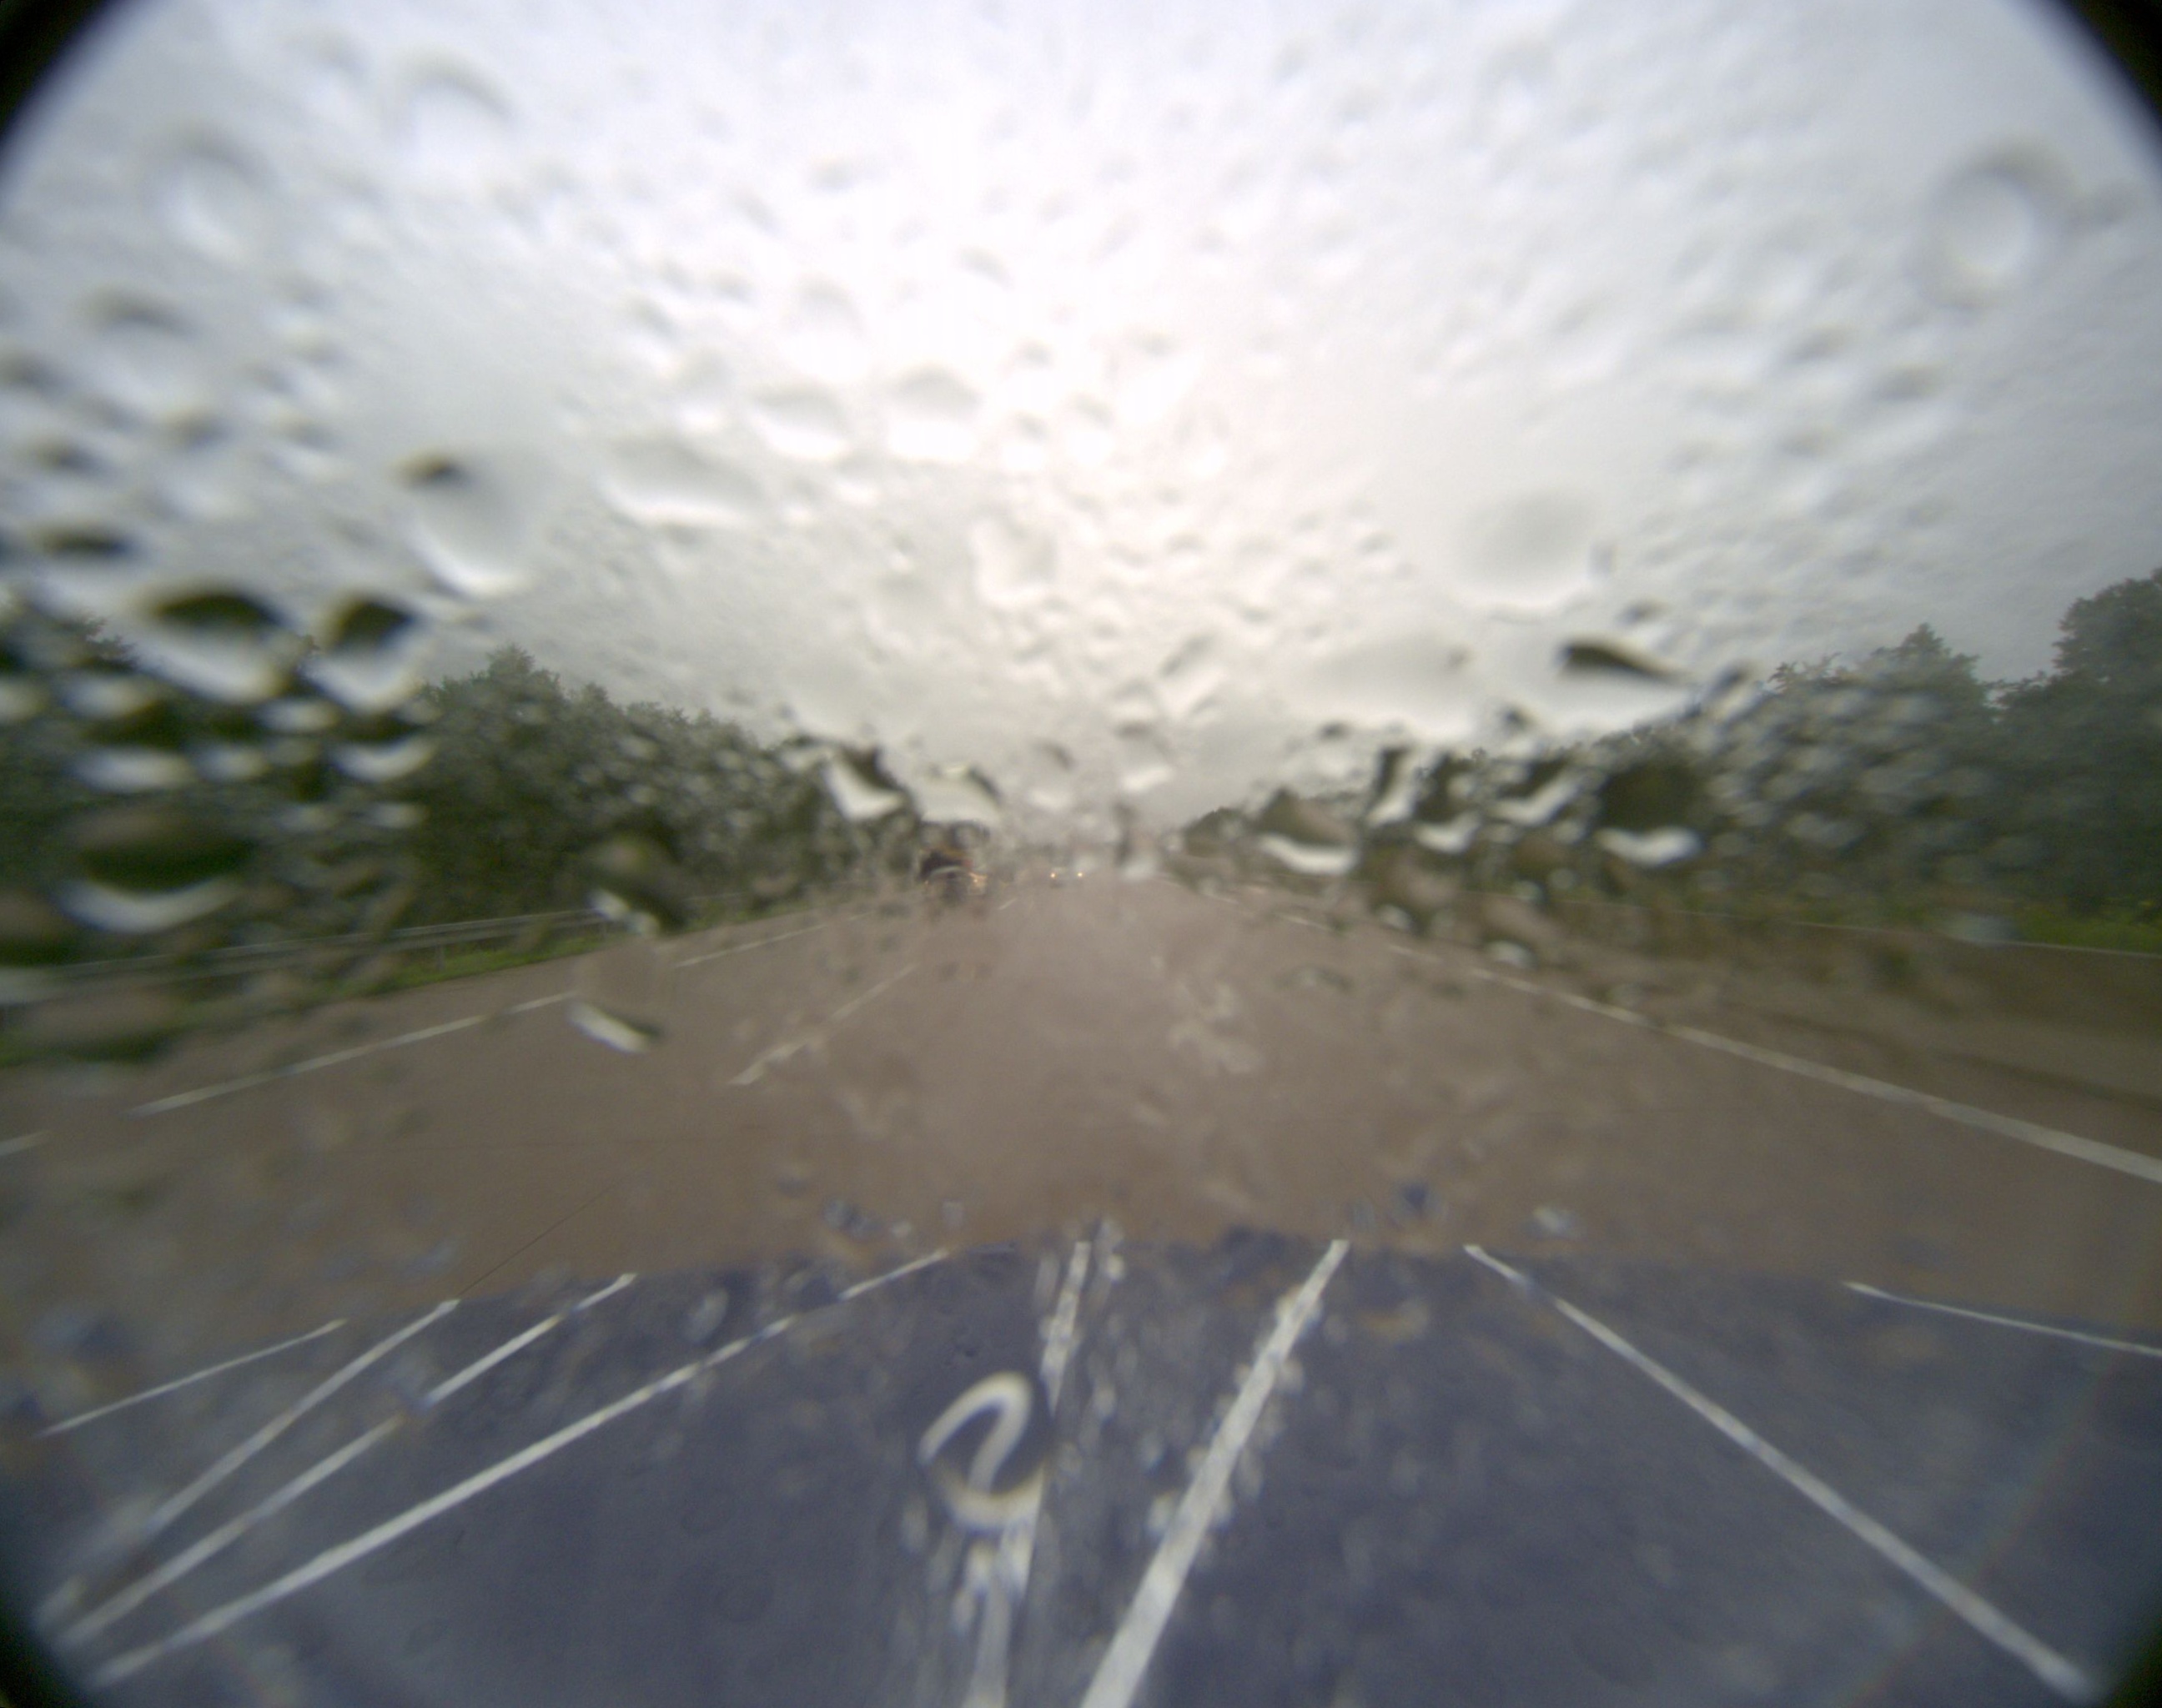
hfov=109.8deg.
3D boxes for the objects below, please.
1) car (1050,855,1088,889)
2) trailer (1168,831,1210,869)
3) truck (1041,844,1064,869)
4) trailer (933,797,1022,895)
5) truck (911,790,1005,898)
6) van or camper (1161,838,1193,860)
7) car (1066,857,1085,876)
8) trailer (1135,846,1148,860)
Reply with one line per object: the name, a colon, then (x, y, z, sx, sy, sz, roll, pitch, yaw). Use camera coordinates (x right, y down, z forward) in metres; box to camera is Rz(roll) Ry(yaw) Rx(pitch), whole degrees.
car: (-0.591, 0.933, 41.398, 1.812, 1.718, 4.744, -1, 0, 2)
trailer: (15.338, -0.562, 109.702, 4.001, 5.030, 14.236, -2, 0, 1)
truck: (-4.553, 0.434, 123.944, 3.242, 3.708, 7.955, -2, 0, 1)
trailer: (-4.977, -0.255, 39.310, 2.860, 4.206, 13.132, 0, -1, 0)
truck: (-4.965, -0.315, 31.913, 2.888, 4.082, 6.350, 0, -1, 0)
van or camper: (11.286, -0.576, 89.976, 2.797, 2.391, 6.488, -4, 0, -1)
car: (-0.602, 1.445, 88.655, 1.999, 2.002, 4.277, -5, 0, -1)
trailer: (19.417, -0.297, 244.824, 3.439, 4.439, 12.447, 0, -1, 1)
